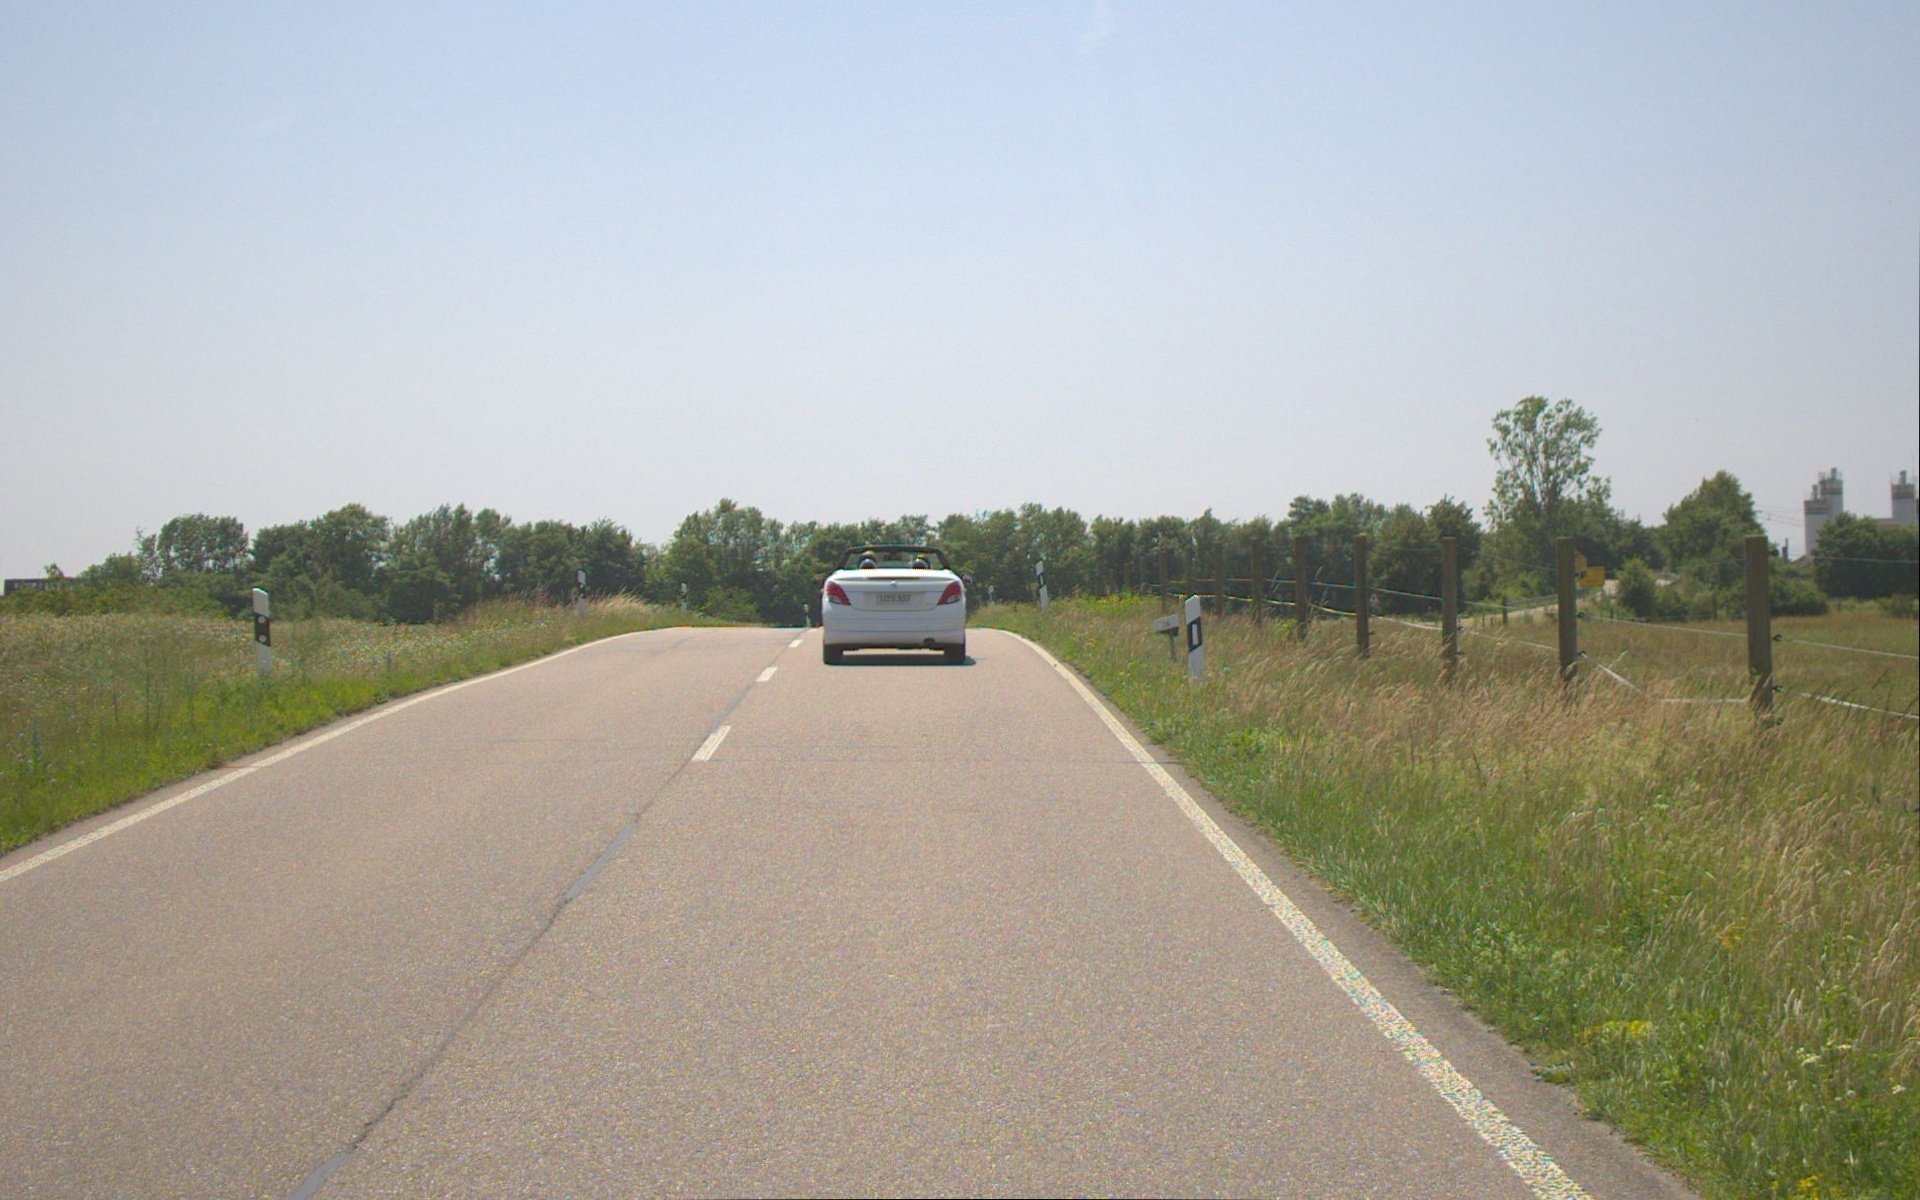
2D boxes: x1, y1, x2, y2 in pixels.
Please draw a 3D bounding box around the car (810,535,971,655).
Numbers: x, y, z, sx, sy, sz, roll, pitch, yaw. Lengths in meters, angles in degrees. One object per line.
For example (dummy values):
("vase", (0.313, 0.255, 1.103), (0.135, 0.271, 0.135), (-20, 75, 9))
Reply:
("car", (-0.840, -0.093, 41.461), (1.851, 1.374, 4.000), (0, 1, -1))
